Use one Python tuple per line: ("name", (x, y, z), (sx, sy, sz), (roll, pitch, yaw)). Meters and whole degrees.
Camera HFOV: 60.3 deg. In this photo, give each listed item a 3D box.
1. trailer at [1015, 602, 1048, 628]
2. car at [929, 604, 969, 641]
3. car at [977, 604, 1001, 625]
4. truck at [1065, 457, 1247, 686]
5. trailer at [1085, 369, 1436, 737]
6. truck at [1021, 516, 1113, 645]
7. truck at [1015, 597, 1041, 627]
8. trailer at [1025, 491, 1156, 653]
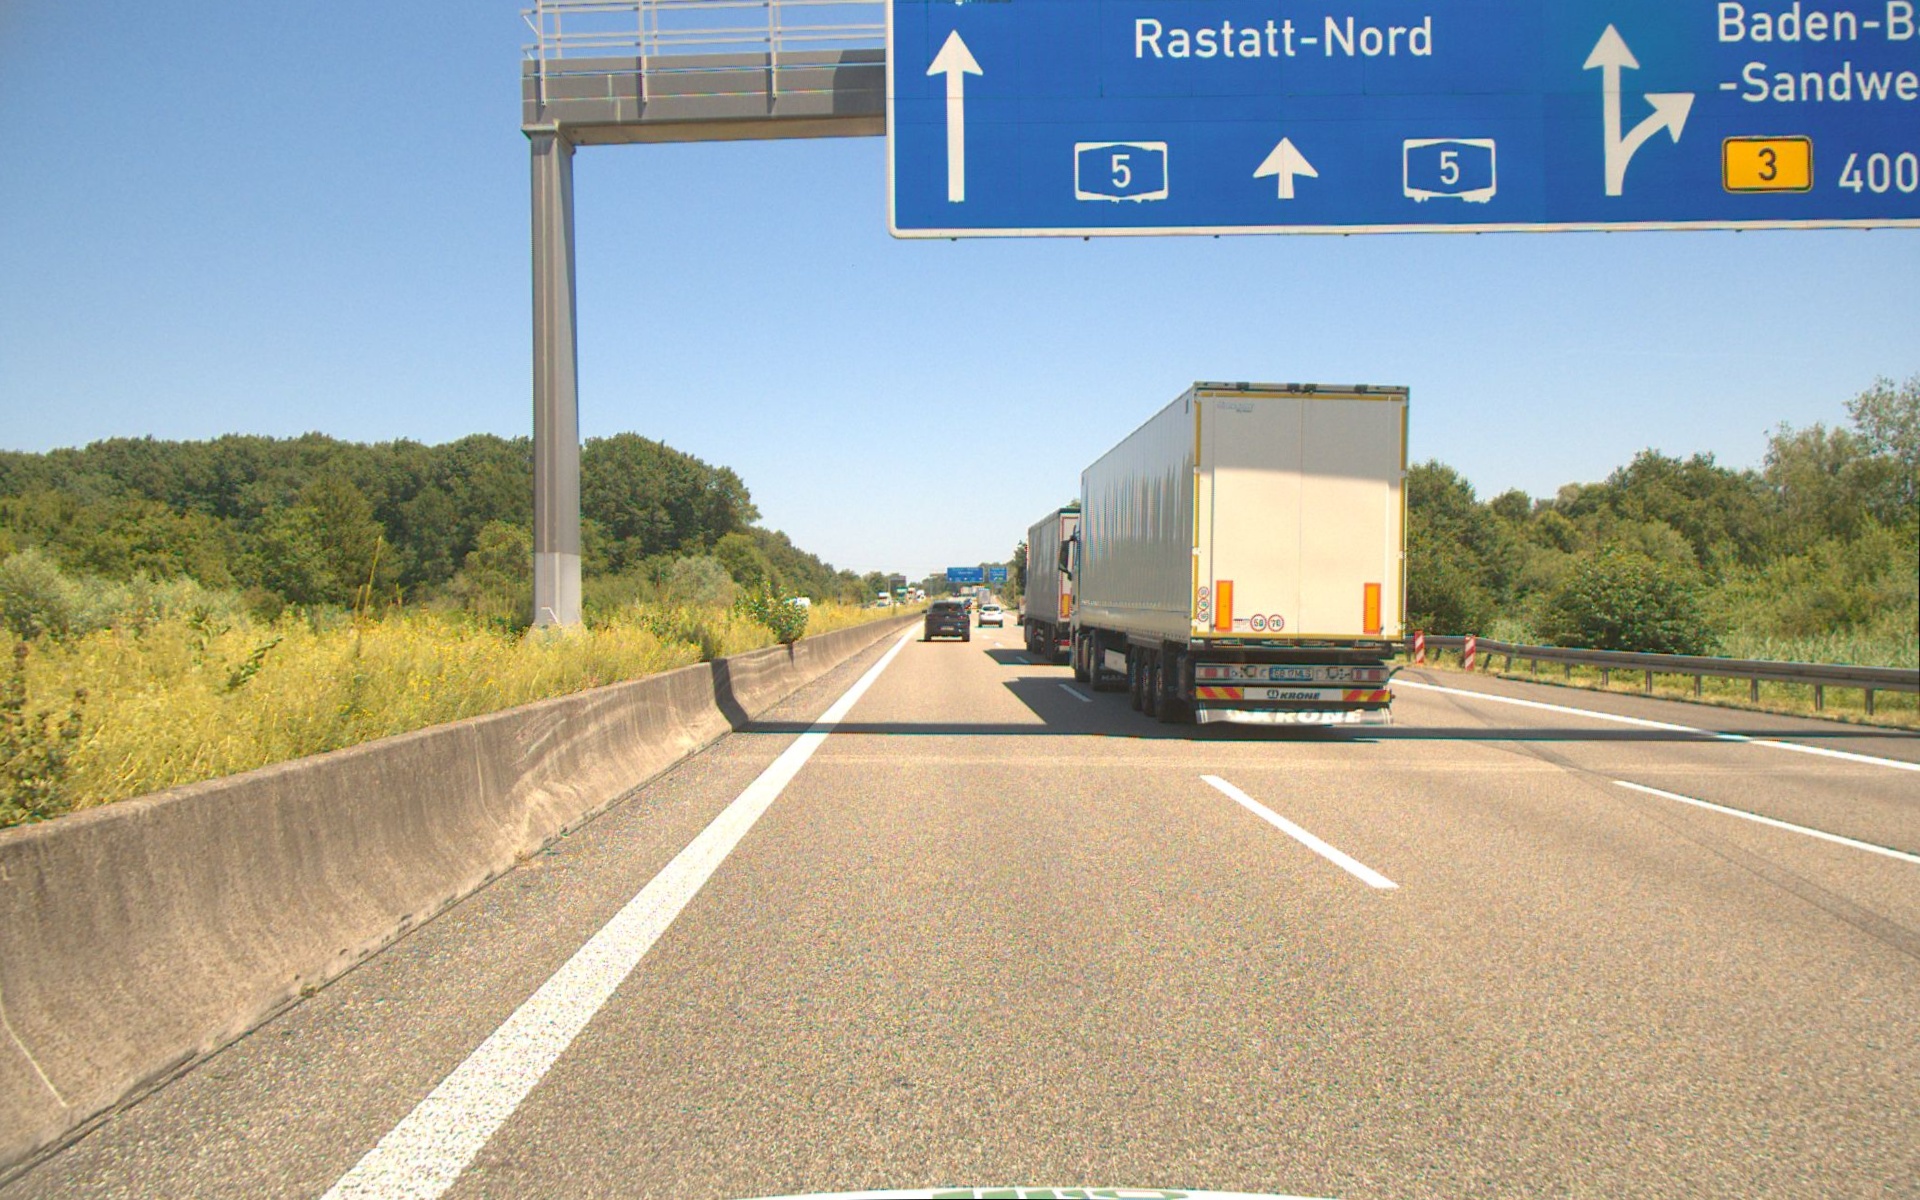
("trailer", (5.831, 1.222, 135.698), (2.371, 2.049, 6.032), (0, 0, -1))
("car", (-0.497, 0.965, 71.465), (1.626, 1.576, 3.782), (0, 0, -2))
("car", (2.182, 1.074, 124.464), (1.704, 1.512, 4.000), (0, 0, 0))
("truck", (3.685, -0.510, 32.505), (2.743, 4.077, 6.019), (0, 0, -1))
("trailer", (3.842, -0.522, 24.796), (2.738, 4.106, 12.564), (0, 0, -1))
("truck", (3.586, -0.616, 56.804), (2.645, 4.166, 6.452), (0, -1, -1))
("truck", (5.779, 1.011, 140.956), (1.953, 2.415, 4.643), (0, 0, -1))
("trailer", (3.643, -0.653, 49.849), (2.652, 4.139, 14.743), (0, -1, -1))
